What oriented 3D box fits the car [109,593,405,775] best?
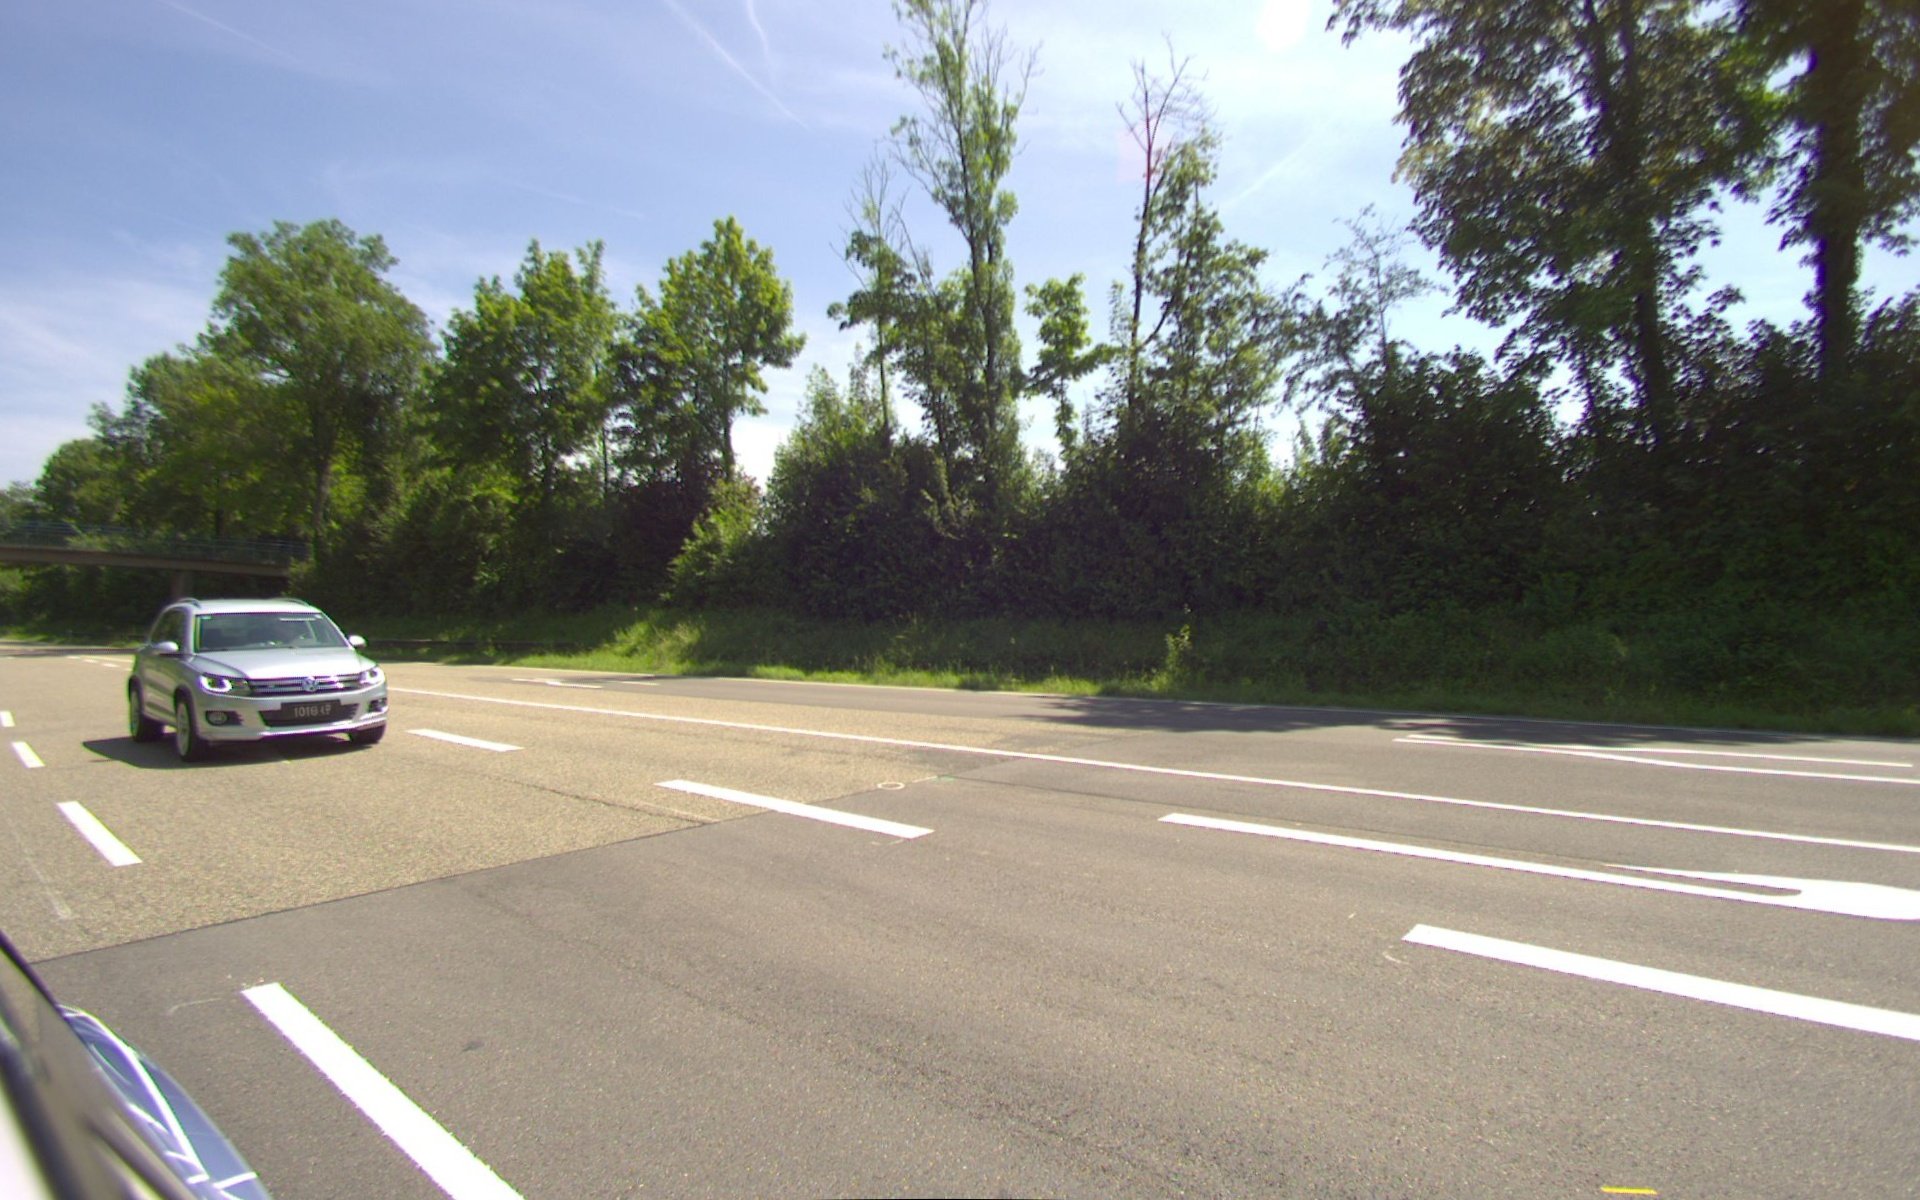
[{"bbox_3d":[-8.139,0.839,11.559,4.289,1.682,1.786,-2,0,41],"label":"car"}]
